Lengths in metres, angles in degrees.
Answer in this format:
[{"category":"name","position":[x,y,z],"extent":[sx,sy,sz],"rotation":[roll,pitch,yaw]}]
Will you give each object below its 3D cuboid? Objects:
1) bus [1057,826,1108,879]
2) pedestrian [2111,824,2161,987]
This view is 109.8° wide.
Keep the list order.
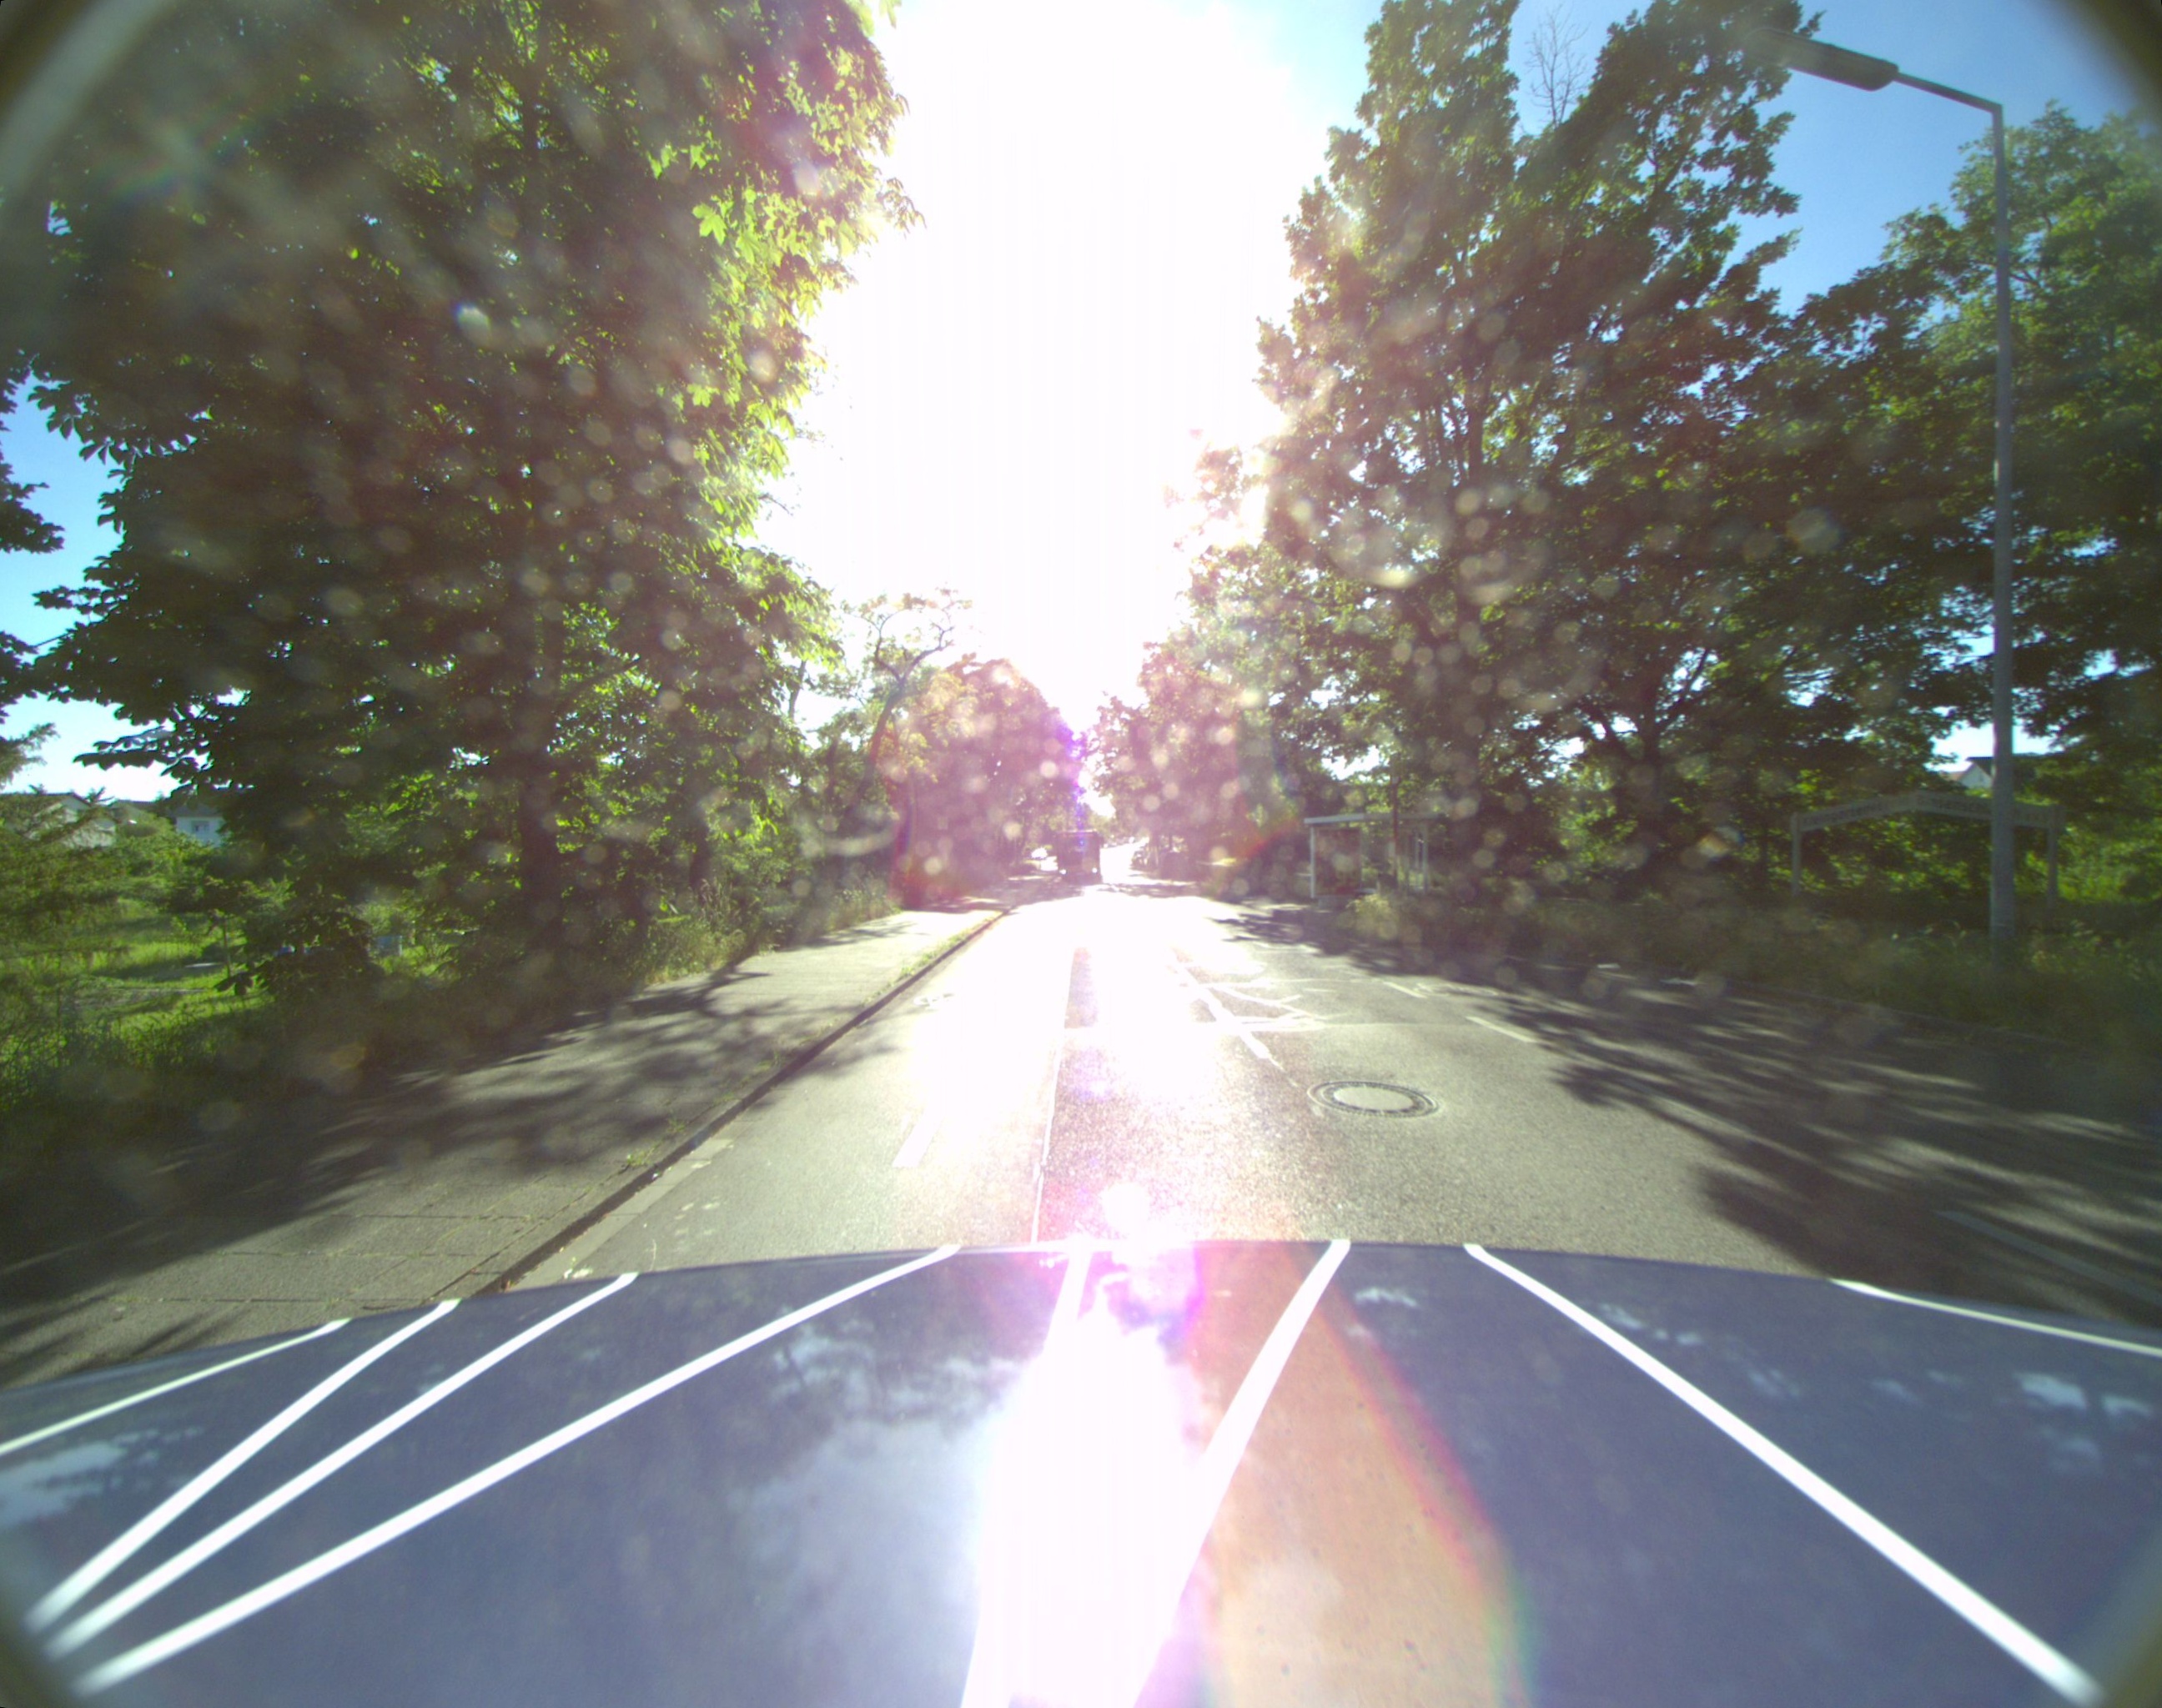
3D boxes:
[{"category":"bus","position":[0.020,-0.071,50.250],"extent":[2.790,2.965,12.893],"rotation":[-2,0,-1]},{"category":"pedestrian","position":[11.560,0.517,7.726],"extent":[0.915,1.678,0.891],"rotation":[-2,0,2]}]
